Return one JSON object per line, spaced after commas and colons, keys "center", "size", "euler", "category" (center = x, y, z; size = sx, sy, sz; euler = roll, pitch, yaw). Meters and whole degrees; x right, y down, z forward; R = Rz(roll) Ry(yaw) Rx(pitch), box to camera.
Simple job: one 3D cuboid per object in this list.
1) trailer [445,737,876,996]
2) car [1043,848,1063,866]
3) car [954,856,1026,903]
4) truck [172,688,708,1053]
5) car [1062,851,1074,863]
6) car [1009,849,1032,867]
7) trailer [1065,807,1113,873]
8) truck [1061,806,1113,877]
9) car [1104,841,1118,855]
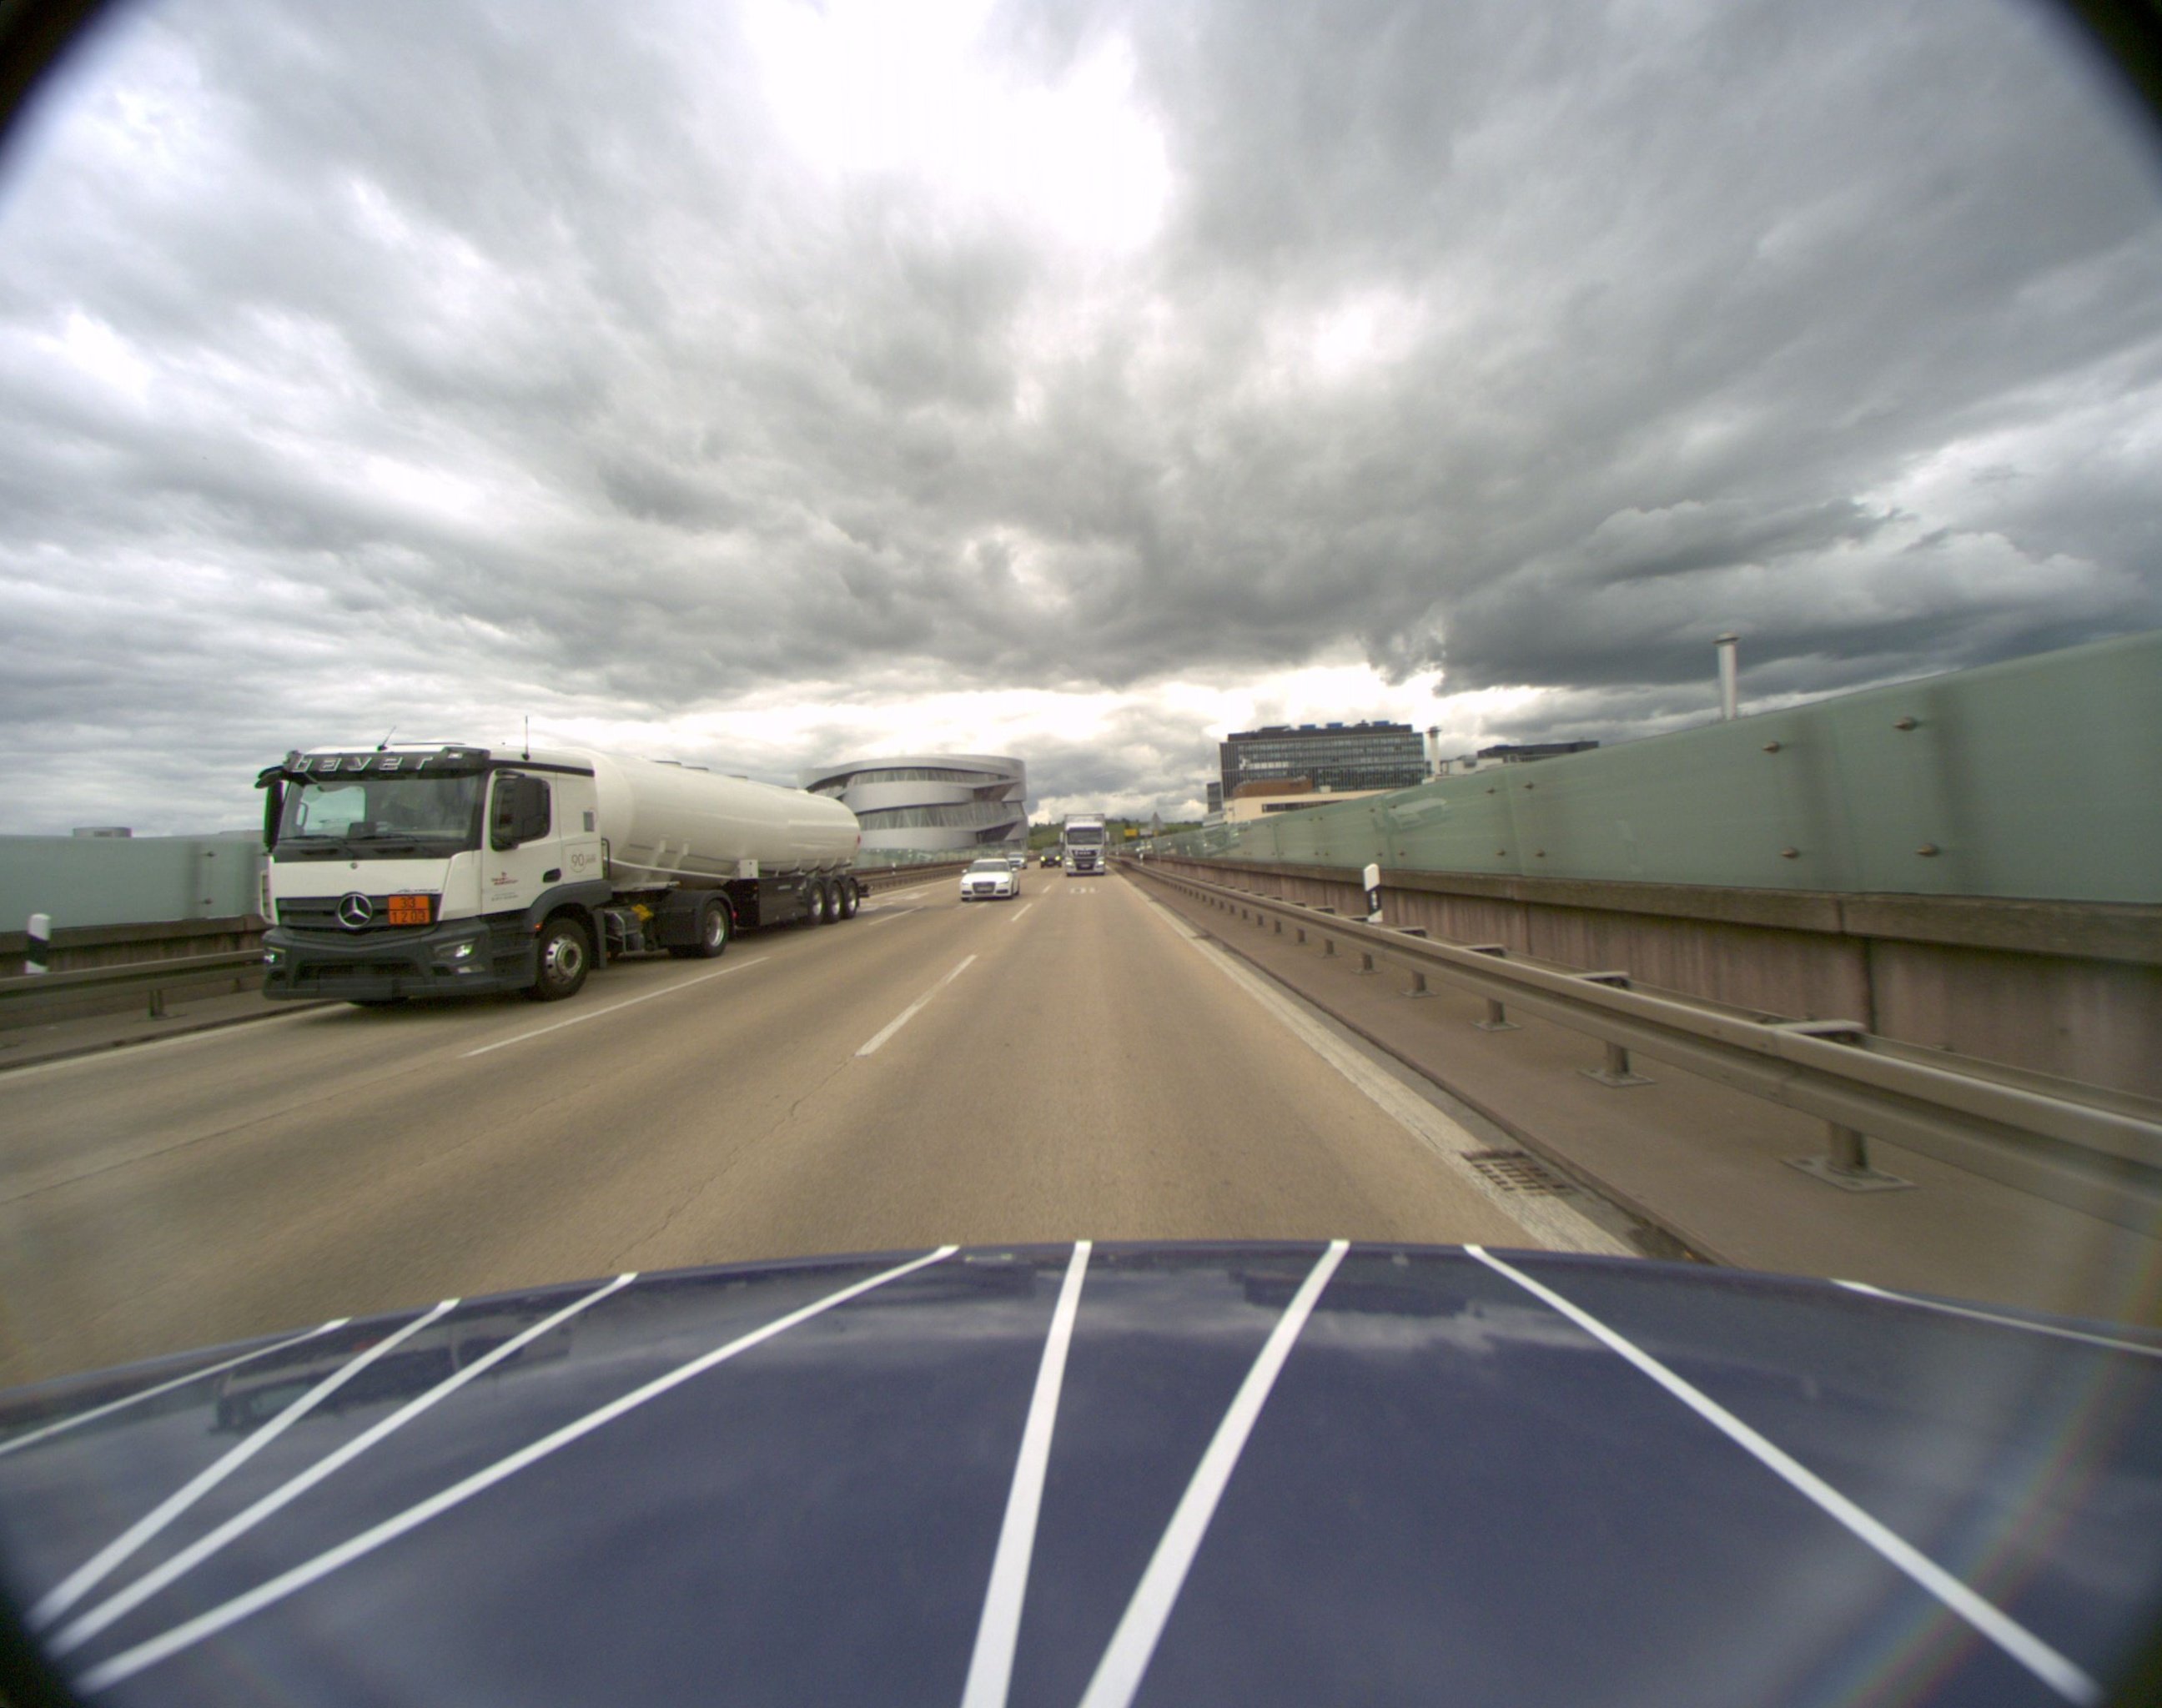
{"center": [-7.368, 0.107, 16.194], "size": [2.657, 3.523, 11.218], "euler": [-2, 1, 1], "category": "trailer"}
{"center": [-2.724, 0.254, 74.927], "size": [1.765, 1.624, 3.627], "euler": [-2, 1, 1], "category": "car"}
{"center": [-3.155, 0.861, 27.218], "size": [1.848, 1.443, 3.933], "euler": [-2, 0, 3], "category": "car"}
{"center": [-7.479, 0.158, 9.900], "size": [2.637, 3.493, 4.904], "euler": [-2, 0, 1], "category": "truck"}
{"center": [-2.263, 0.566, 136.204], "size": [1.998, 2.002, 3.999], "euler": [-2, 1, 1], "category": "car"}
{"center": [-5.837, 0.397, 73.196], "size": [1.785, 1.624, 3.627], "euler": [-2, 1, 1], "category": "car"}
{"center": [0.637, -0.941, 53.621], "size": [2.880, 4.104, 11.219], "euler": [-2, 1, 1], "category": "trailer"}
{"center": [0.440, -0.786, 48.843], "size": [2.946, 4.136, 6.291], "euler": [-2, 1, 1], "category": "truck"}
{"center": [4.577, -0.887, 117.128], "size": [1.998, 2.002, 3.999], "euler": [-2, 1, 0], "category": "car"}
